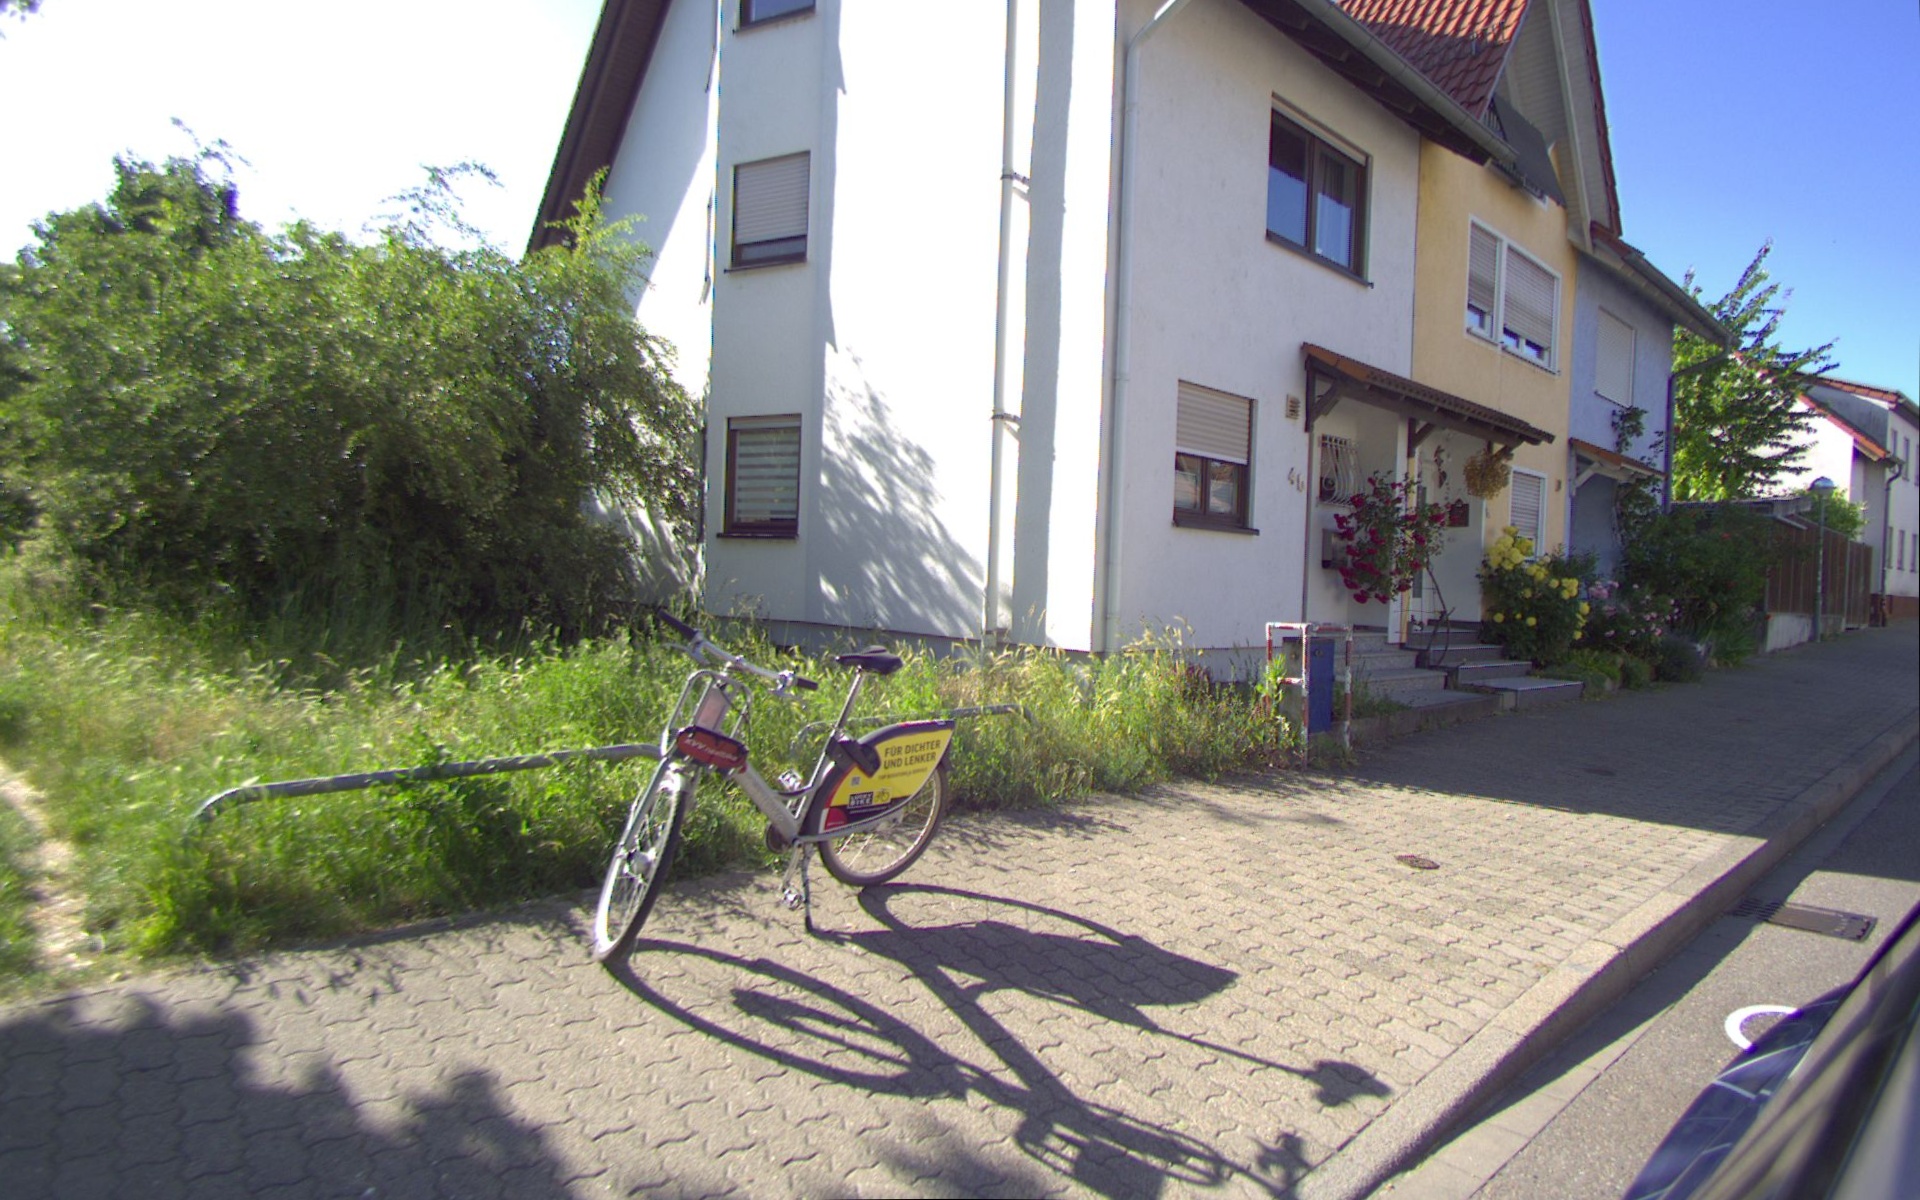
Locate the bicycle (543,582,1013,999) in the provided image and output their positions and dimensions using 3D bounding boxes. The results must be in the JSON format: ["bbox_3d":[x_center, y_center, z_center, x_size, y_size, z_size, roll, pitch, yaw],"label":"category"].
[{"bbox_3d":[-0.625,0.559,3.727,1.513,1.170,0.690,0,6,-42],"label":"bicycle"}]
